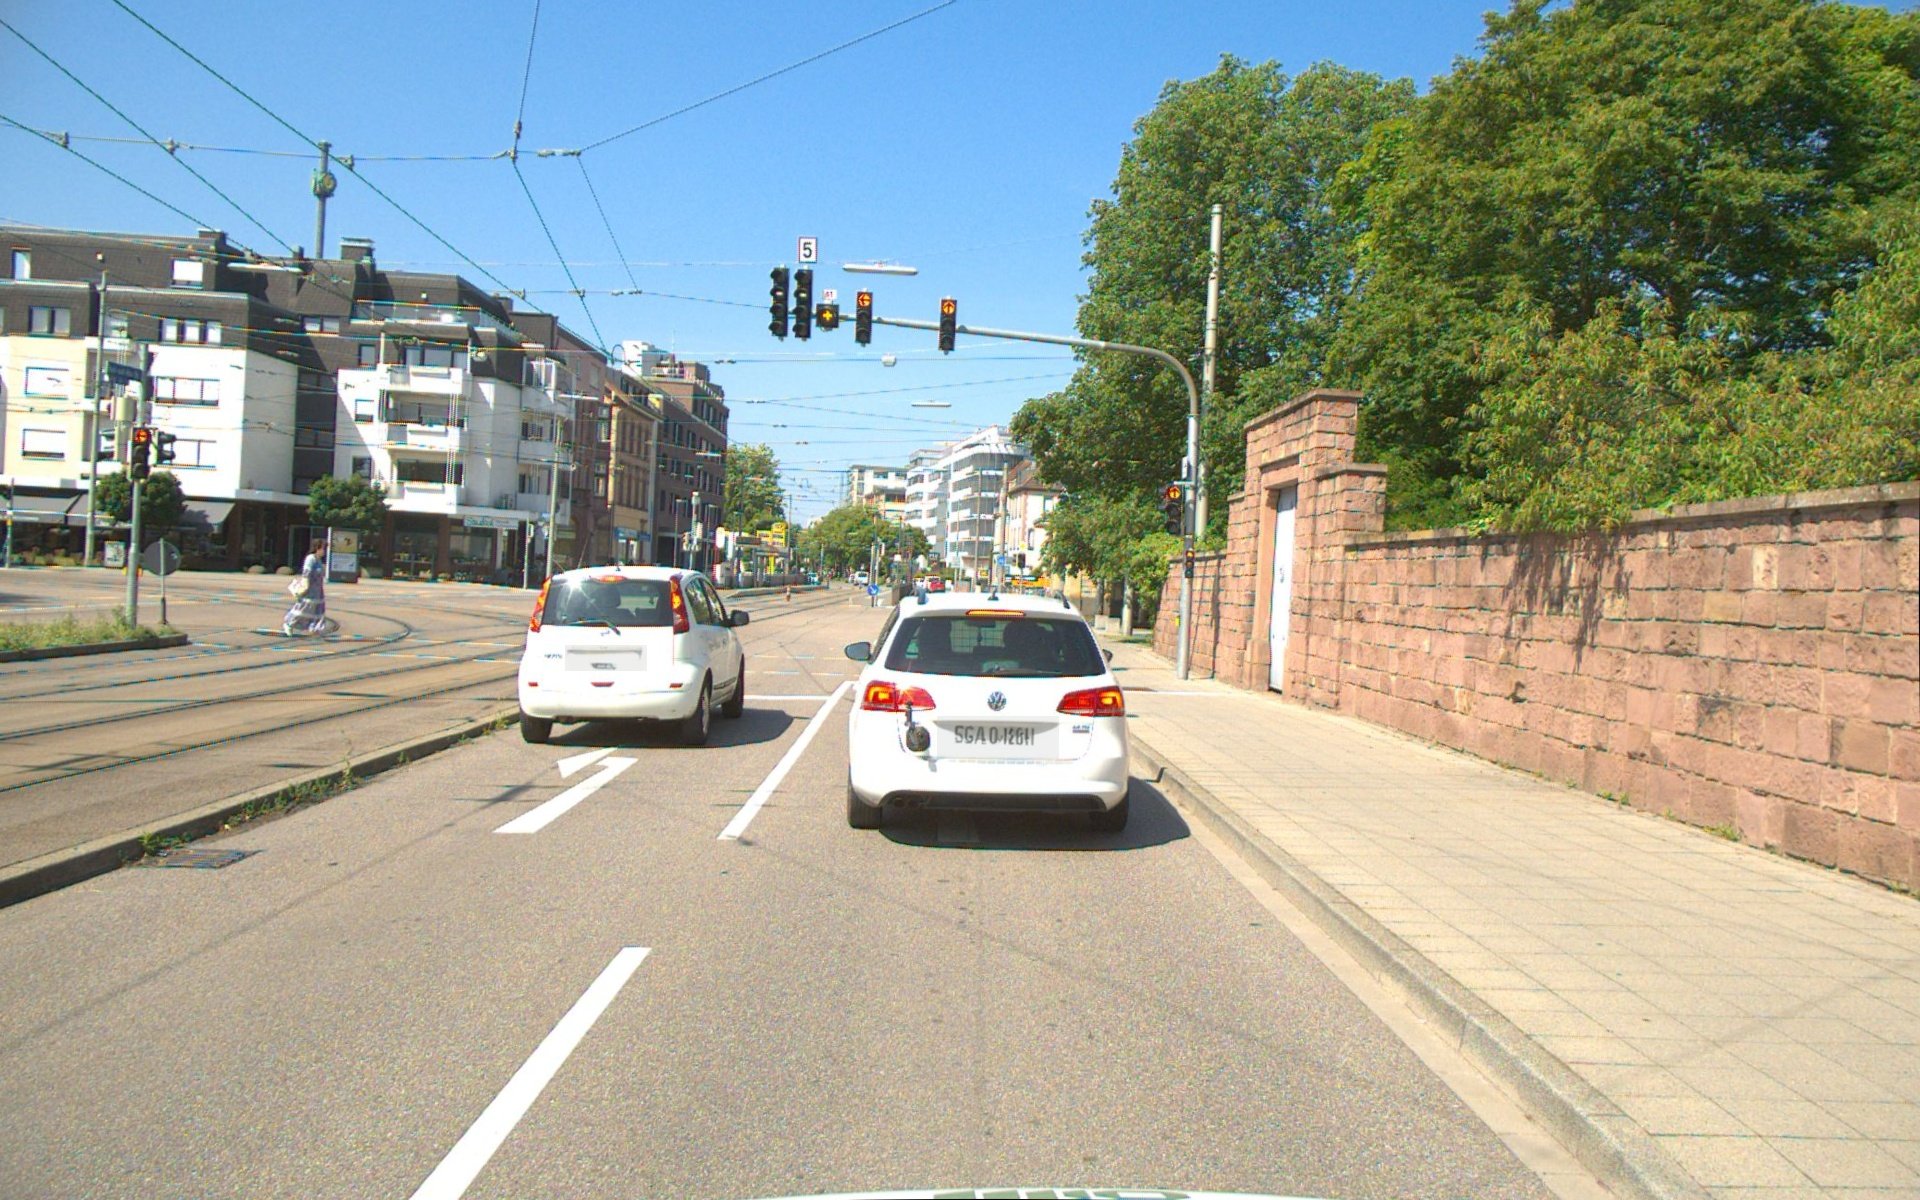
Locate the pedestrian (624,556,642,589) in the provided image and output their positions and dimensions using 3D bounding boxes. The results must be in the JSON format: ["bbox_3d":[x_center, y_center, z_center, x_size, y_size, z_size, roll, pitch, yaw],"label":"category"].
[{"bbox_3d":[-20.637,-1.745,104.308,0.919,2.048,0.989,2,0,-6],"label":"pedestrian"}]

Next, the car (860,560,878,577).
[{"bbox_3d":[-14.125,-4.868,257.414,1.960,2.499,4.133,2,1,-14],"label":"car"}]

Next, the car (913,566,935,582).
[{"bbox_3d":[-4.776,-3.498,219.473,1.960,2.048,3.985,2,1,-14],"label":"car"}]

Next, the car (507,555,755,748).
[{"bbox_3d":[-3.059,0.416,16.145,1.695,1.624,4.010,1,1,-1],"label":"car"}]

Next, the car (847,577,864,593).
[{"bbox_3d":[-11.226,-1.608,178.297,1.664,1.618,3.534,2,1,-2],"label":"car"}]

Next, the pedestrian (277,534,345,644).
[{"bbox_3d":[-10.836,-0.189,27.651,0.811,1.769,0.930,2,0,-9],"label":"pedestrian"}]

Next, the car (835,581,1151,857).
[{"bbox_3d":[0.215,0.642,11.154,1.742,1.516,3.847,1,1,1],"label":"car"}]

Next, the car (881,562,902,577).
[{"bbox_3d":[-9.975,-4.460,240.531,1.962,2.048,3.983,5,0,-16],"label":"car"}]

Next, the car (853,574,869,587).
[{"bbox_3d":[-13.805,-2.692,230.000,1.668,1.618,3.526,2,1,-11],"label":"car"}]

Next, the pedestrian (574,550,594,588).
[{"bbox_3d":[-20.859,-1.735,91.732,0.918,2.048,0.989,2,0,-6],"label":"pedestrian"}]

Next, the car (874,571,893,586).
[{"bbox_3d":[-11.360,-3.190,245.319,1.960,2.048,3.985,2,1,-14],"label":"car"}]

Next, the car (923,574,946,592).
[{"bbox_3d":[-3.169,-2.099,205.103,1.960,2.048,3.985,2,1,-14],"label":"car"}]

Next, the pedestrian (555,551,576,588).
[{"bbox_3d":[-21.849,-1.688,91.654,0.918,2.048,0.990,2,0,-5],"label":"pedestrian"}]

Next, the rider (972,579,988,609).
[{"bbox_3d":[1.218,-0.392,100.628,0.873,1.758,2.203,2,0,0],"label":"rider"}]

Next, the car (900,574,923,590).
[{"bbox_3d":[-6.177,-2.290,208.764,1.961,1.937,3.983,2,1,-16],"label":"car"}]

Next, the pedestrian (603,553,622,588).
[{"bbox_3d":[-20.724,-1.753,98.602,0.918,2.048,0.990,2,0,-3],"label":"pedestrian"}]
